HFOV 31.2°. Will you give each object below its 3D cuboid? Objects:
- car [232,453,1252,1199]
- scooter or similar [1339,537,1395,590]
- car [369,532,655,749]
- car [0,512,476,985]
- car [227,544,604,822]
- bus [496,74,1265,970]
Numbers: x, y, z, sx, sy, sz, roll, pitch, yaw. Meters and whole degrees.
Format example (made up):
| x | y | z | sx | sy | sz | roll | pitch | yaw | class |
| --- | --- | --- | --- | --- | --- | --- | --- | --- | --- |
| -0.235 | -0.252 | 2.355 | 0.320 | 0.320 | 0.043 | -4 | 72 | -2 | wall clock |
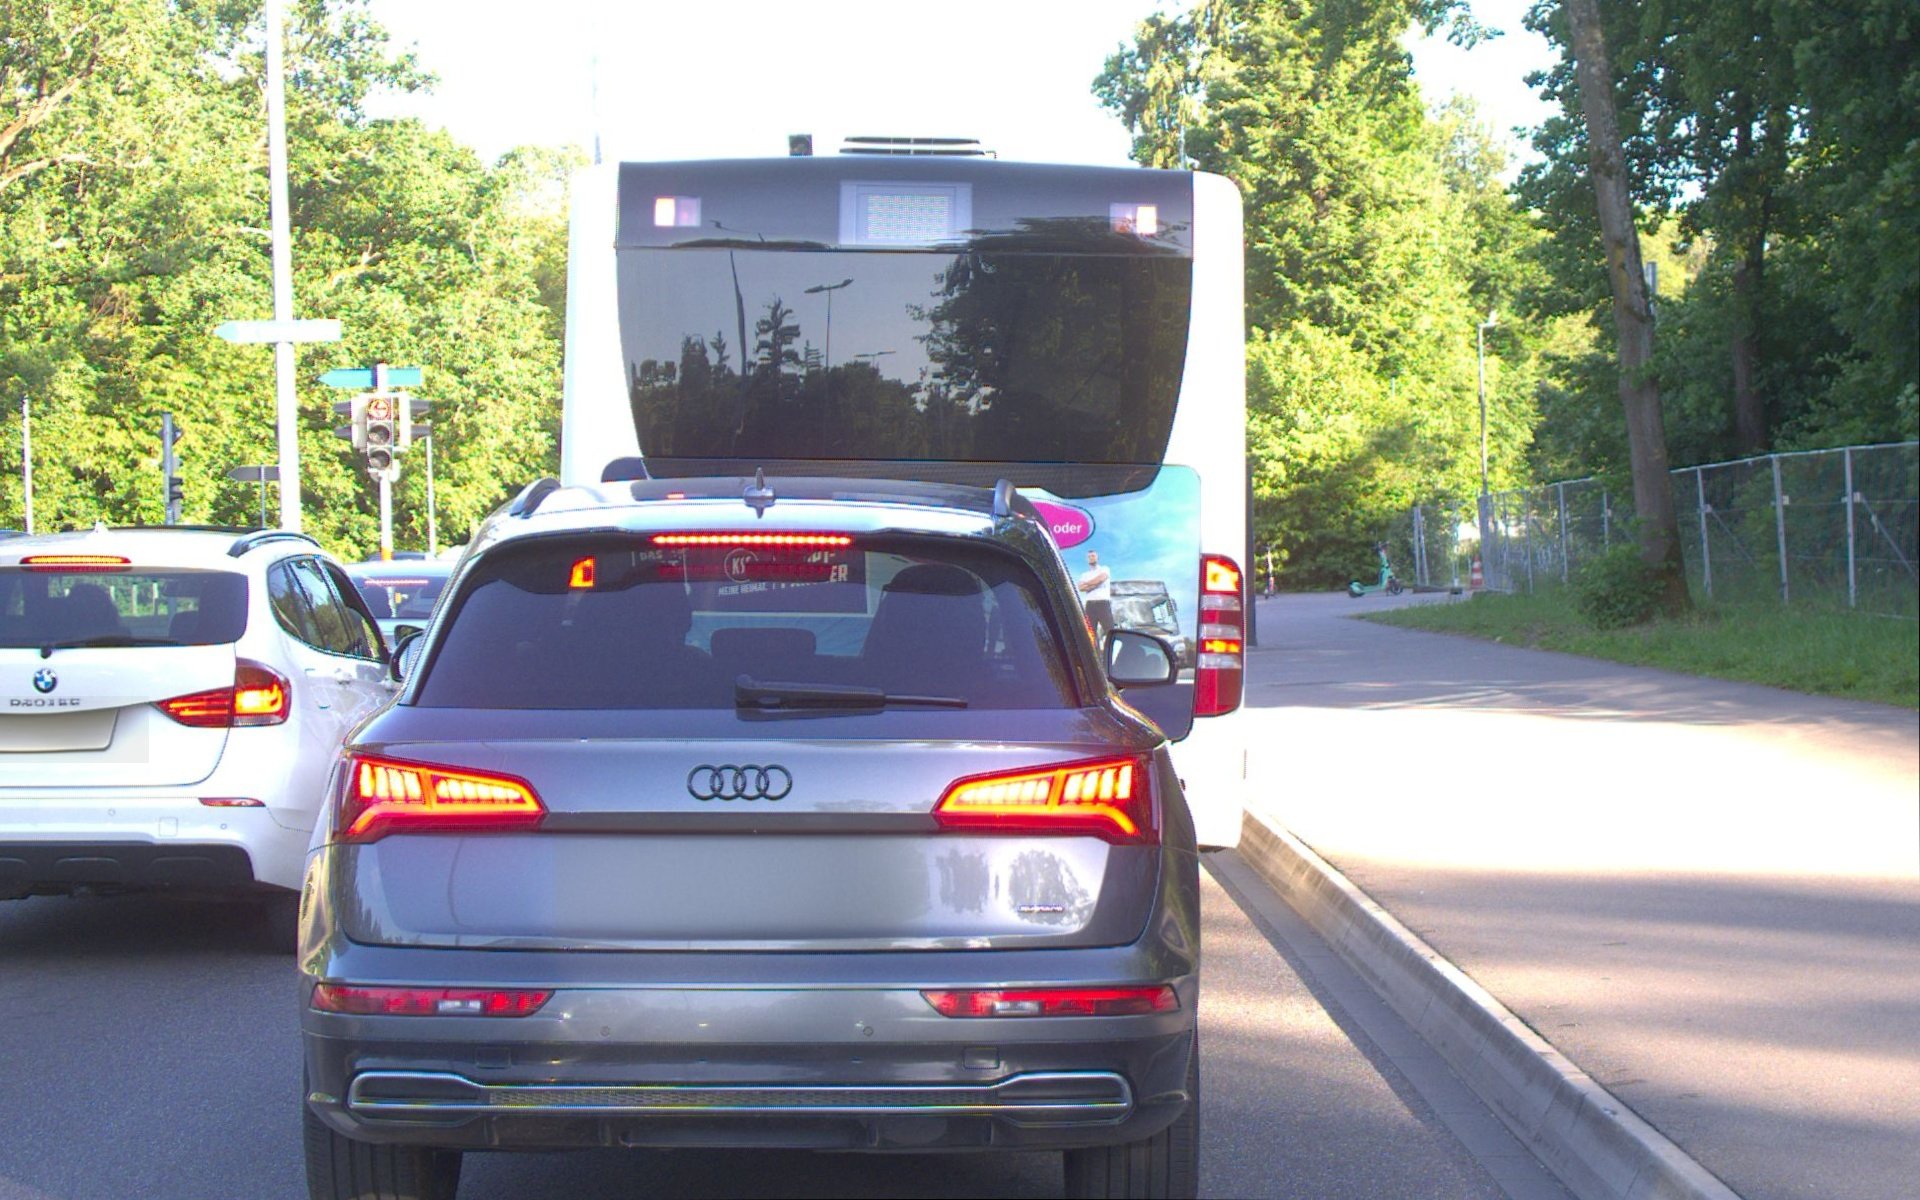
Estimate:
| x | y | z | sx | sy | sz | roll | pitch | yaw | class |
| --- | --- | --- | --- | --- | --- | --- | --- | --- | --- |
| -0.429 | 0.515 | 8.361 | 1.868 | 1.658 | 4.000 | 1 | 2 | -1 | car |
| 9.222 | -0.827 | 77.902 | 1.184 | 1.170 | 0.659 | 1 | 1 | 11 | scooter or similar |
| -3.526 | 0.264 | 27.671 | 1.808 | 1.567 | 4.000 | 1 | 2 | -1 | car |
| -3.095 | 0.470 | 13.768 | 1.718 | 1.575 | 4.434 | 1 | 1 | -1 | car |
| -3.181 | 0.418 | 20.838 | 1.785 | 1.439 | 4.278 | 1 | 2 | -3 | car |
| -0.253 | -0.353 | 15.100 | 2.678 | 3.131 | 5.882 | 1 | 2 | 1 | bus |
